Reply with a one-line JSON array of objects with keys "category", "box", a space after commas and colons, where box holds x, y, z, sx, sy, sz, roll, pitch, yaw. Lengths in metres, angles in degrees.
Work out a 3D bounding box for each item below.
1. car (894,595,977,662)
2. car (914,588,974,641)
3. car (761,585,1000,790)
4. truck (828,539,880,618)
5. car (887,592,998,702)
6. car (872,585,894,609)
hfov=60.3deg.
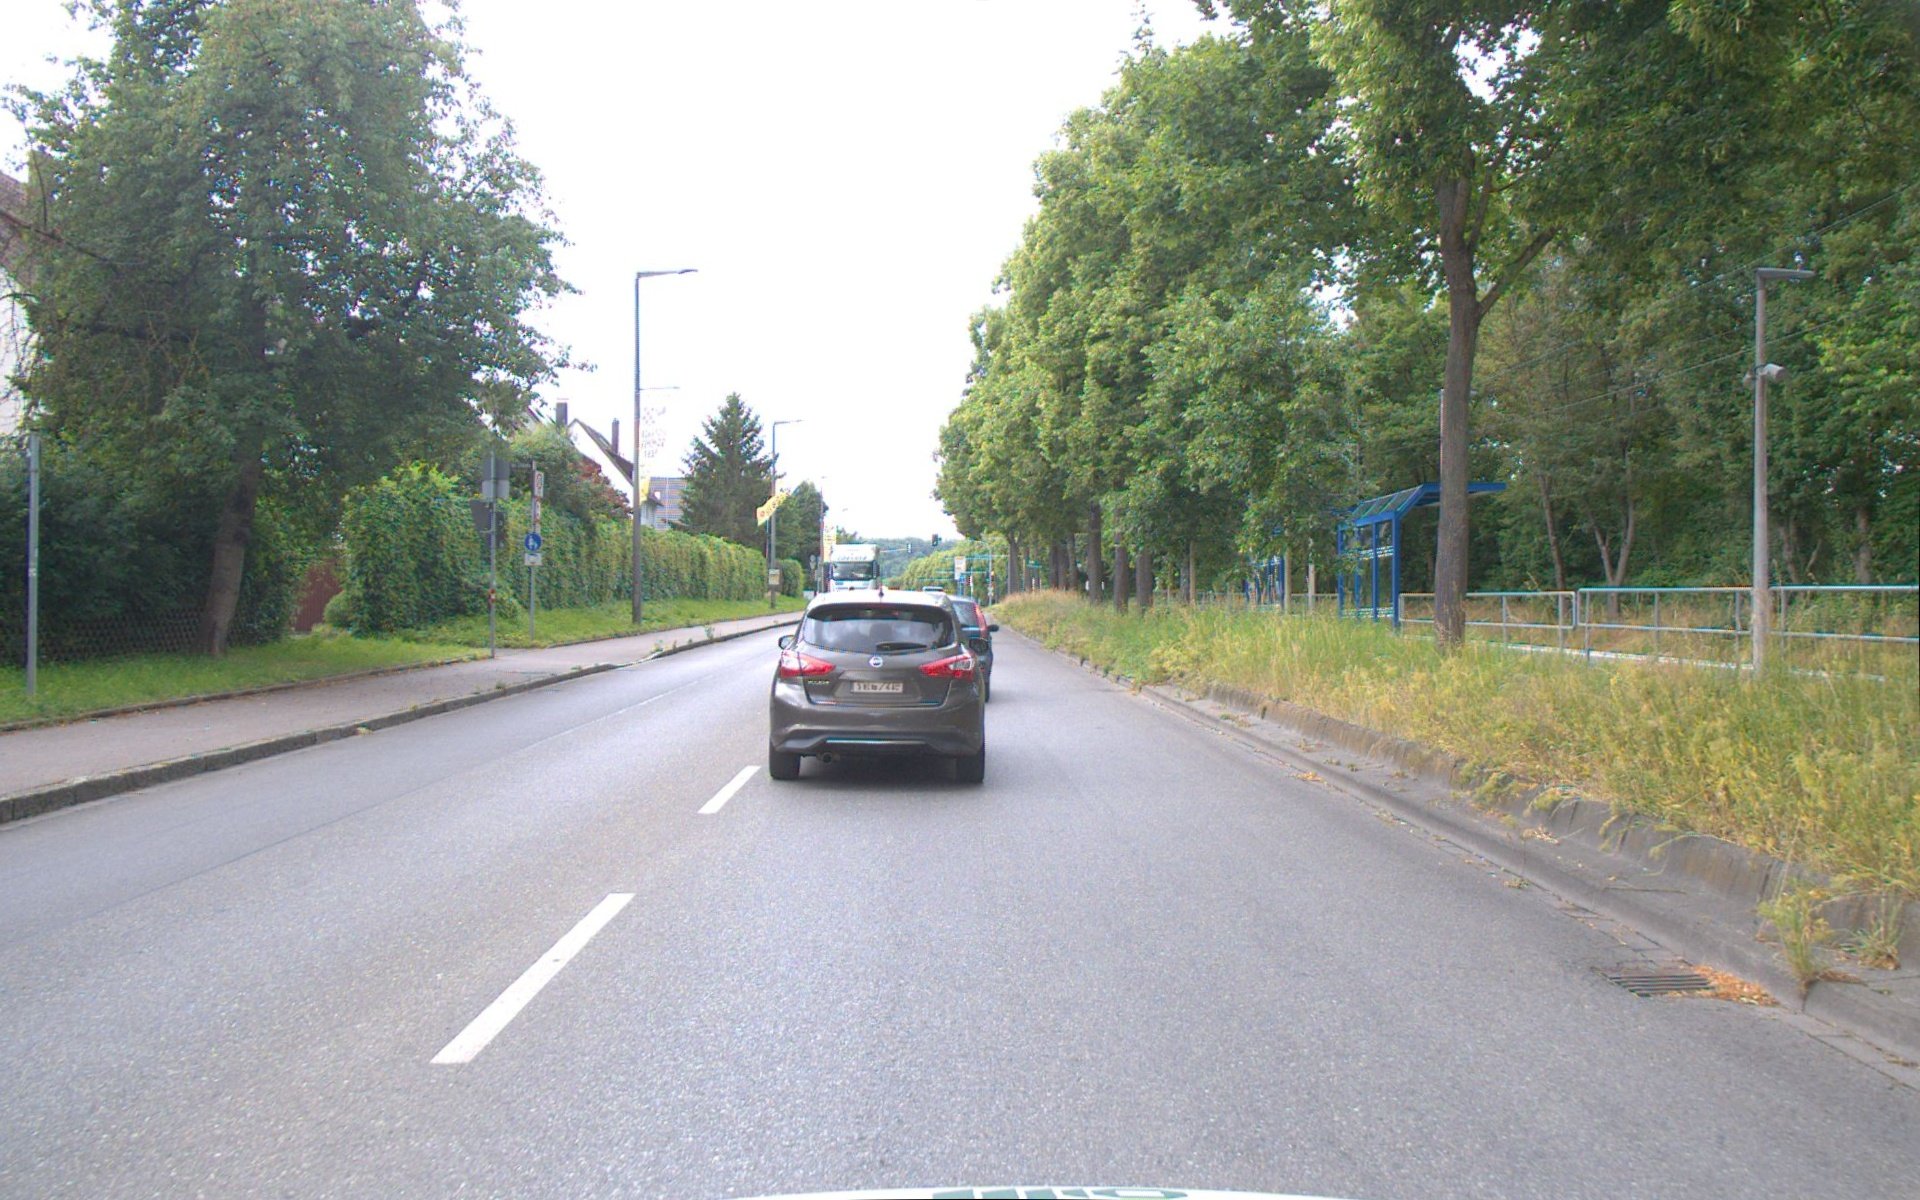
[{"category": "car", "box": [-0.547, 0.607, 37.378, 1.755, 1.421, 3.999, 0, 0, -1]}, {"category": "car", "box": [-0.494, 0.414, 50.677, 1.755, 1.565, 3.999, 0, 0, -1]}, {"category": "car", "box": [-0.633, 0.653, 14.803, 1.798, 1.545, 4.482, 0, 0, -1]}, {"category": "truck", "box": [-5.871, -1.093, 92.916, 2.498, 4.114, 10.615, -2, 0, -2]}, {"category": "car", "box": [-0.269, 0.637, 24.613, 1.507, 1.504, 3.763, 0, 0, -1]}, {"category": "car", "box": [-6.642, -0.264, 142.756, 1.869, 1.966, 4.908, -1, 1, -3]}]
